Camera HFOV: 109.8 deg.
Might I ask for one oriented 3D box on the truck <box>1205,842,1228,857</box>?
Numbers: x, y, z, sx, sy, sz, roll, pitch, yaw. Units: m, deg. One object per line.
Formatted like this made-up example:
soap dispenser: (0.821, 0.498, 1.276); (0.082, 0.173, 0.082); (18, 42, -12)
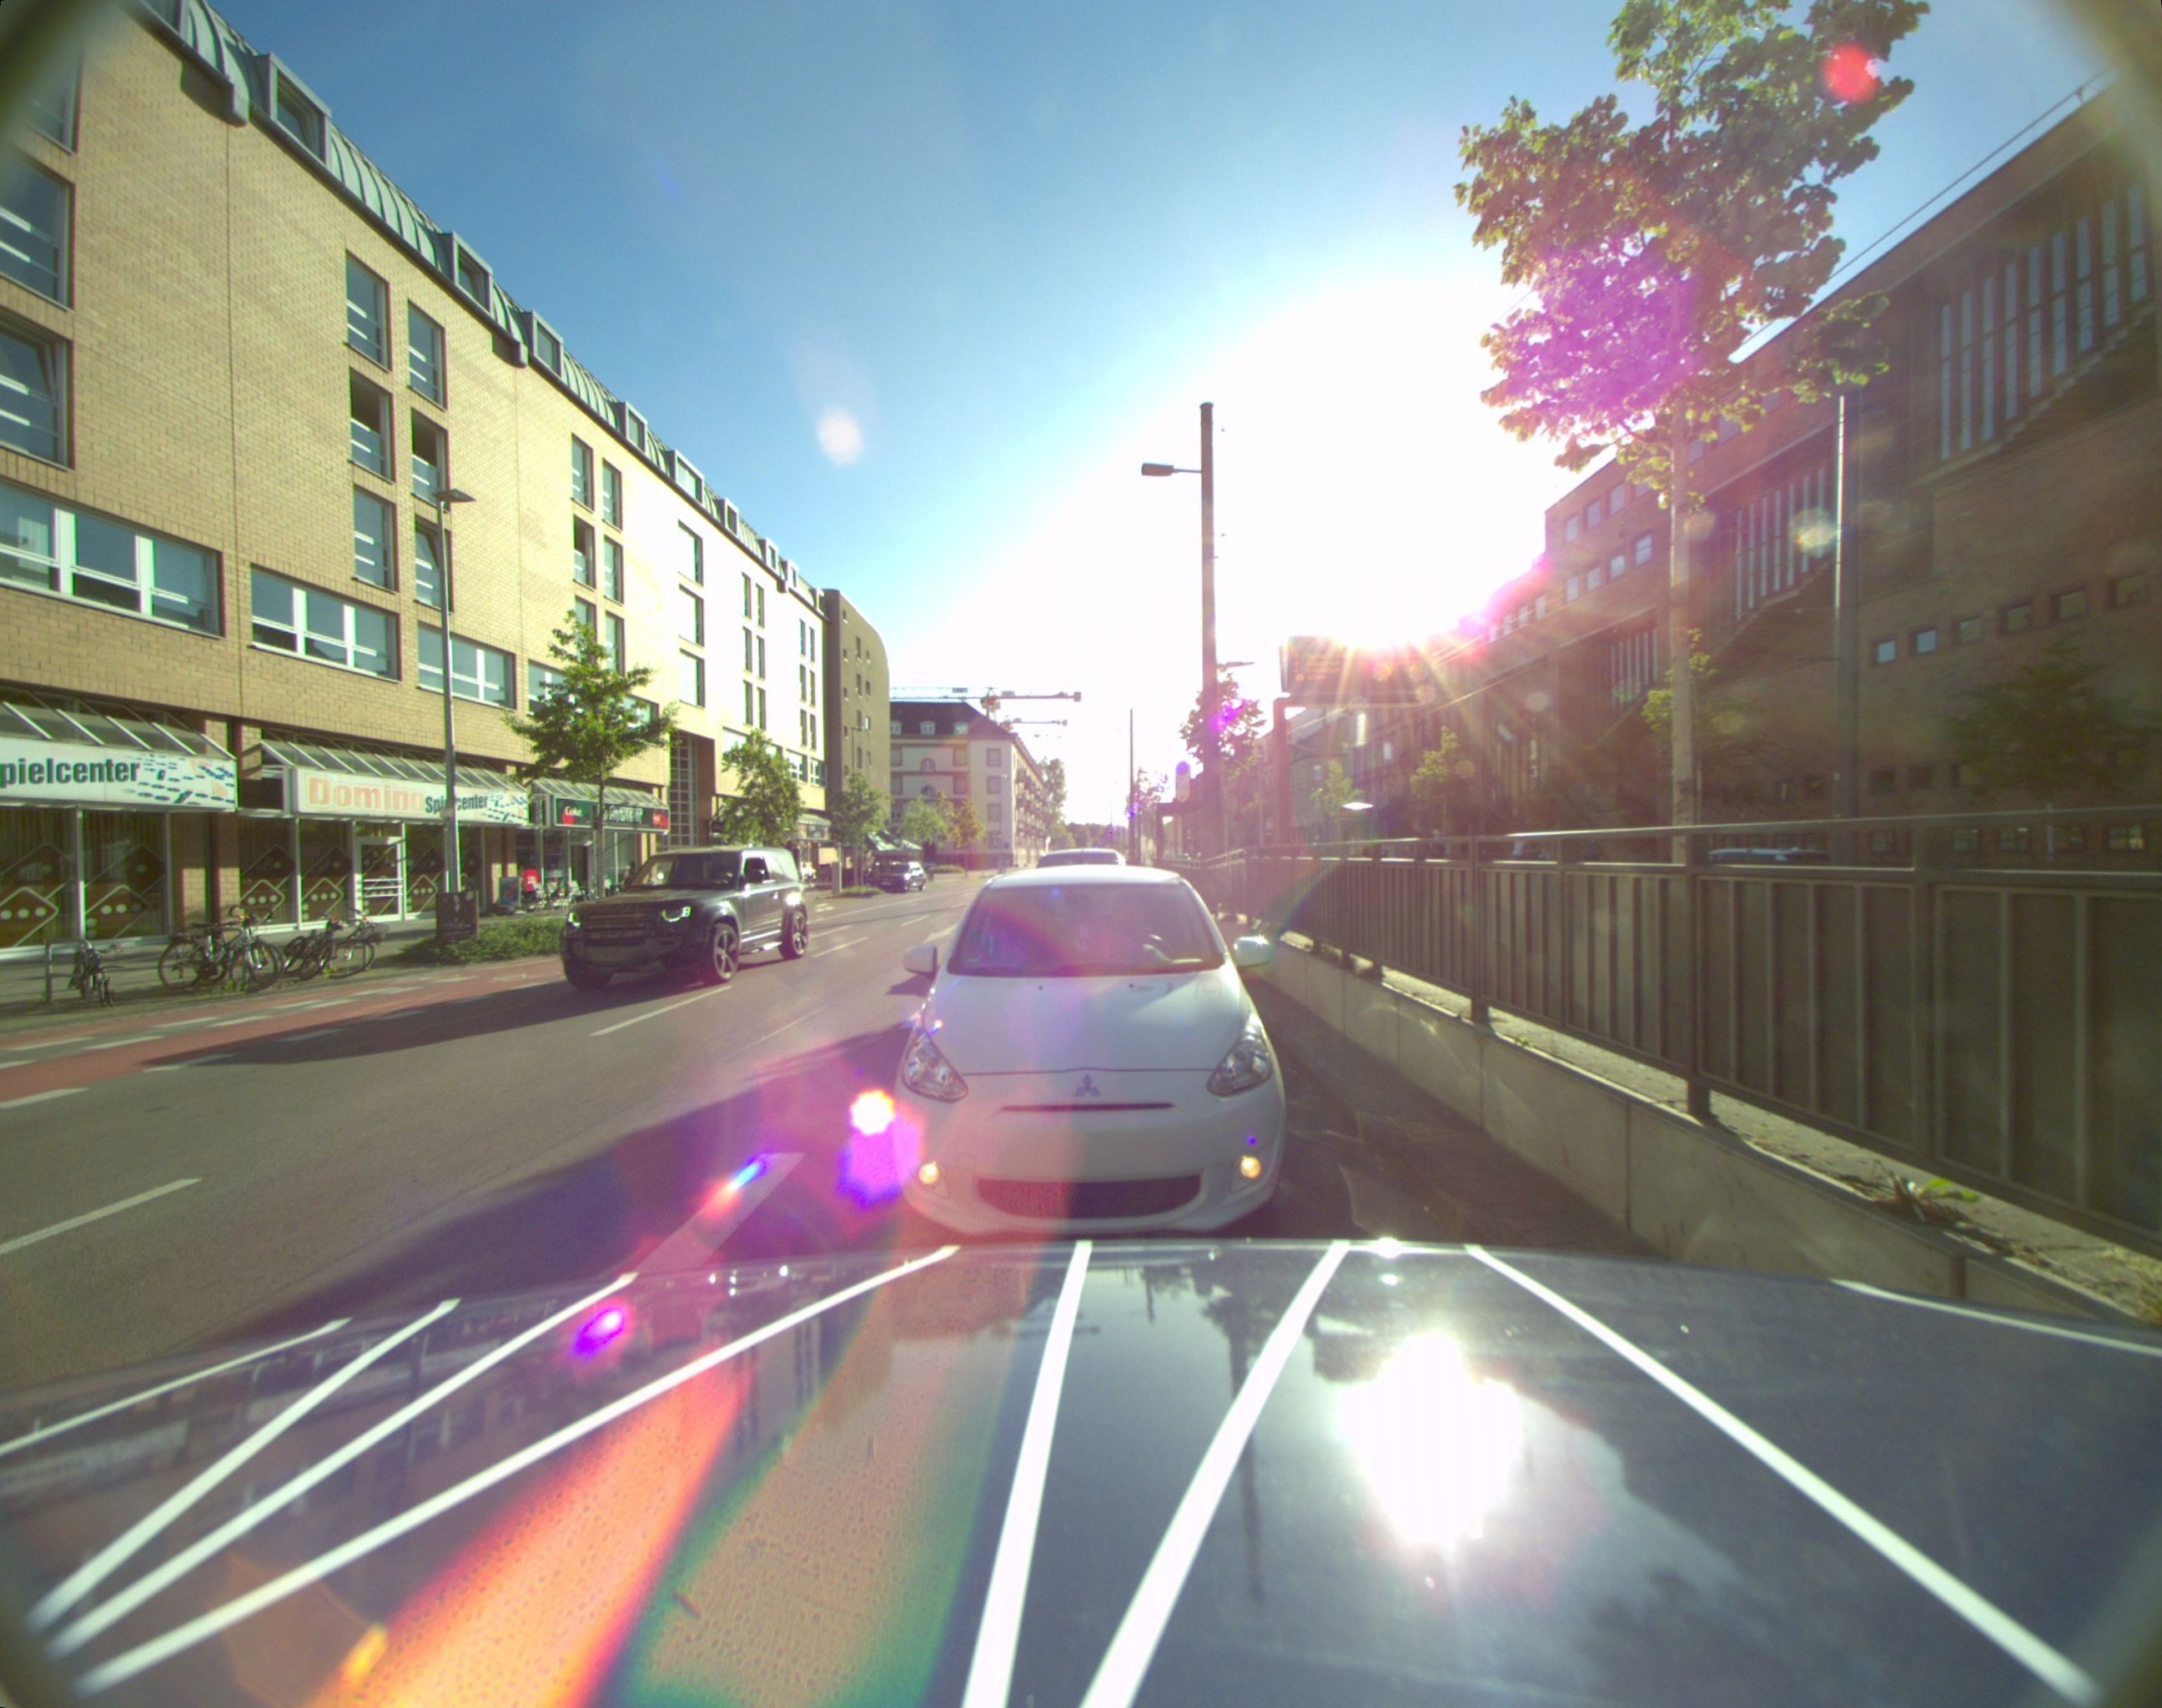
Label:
truck: (17.662, -0.613, 99.292); (1.999, 1.868, 5.155); (1, 0, 0)

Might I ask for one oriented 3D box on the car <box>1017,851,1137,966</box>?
car: (-0.061, 0.808, 13.460); (1.720, 1.591, 4.215); (-2, 1, 0)

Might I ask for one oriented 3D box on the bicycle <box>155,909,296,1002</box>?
bicycle: (-12.336, 1.434, 10.960); (1.835, 1.156, 0.565); (1, 2, 15)

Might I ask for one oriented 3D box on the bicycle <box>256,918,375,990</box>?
bicycle: (-12.045, 1.551, 11.960); (1.835, 0.980, 0.449); (1, 2, 15)

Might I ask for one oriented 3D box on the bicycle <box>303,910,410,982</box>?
bicycle: (-11.902, 1.487, 12.477); (1.835, 1.050, 0.350); (1, 2, 15)

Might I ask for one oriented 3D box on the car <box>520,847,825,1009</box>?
car: (-5.769, 0.936, 11.579); (2.164, 1.903, 4.473); (-2, -1, 0)

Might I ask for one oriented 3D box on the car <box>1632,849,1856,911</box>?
car: (17.320, 0.615, 20.216); (1.830, 1.422, 4.528); (-1, 0, -3)

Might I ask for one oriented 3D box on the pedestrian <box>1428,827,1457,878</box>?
pedestrian: (13.141, -0.052, 27.645); (0.685, 1.797, 0.668); (-2, 2, 0)

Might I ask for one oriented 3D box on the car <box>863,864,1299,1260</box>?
car: (0.002, 0.882, 5.210); (1.720, 1.422, 4.215); (-2, 1, 0)

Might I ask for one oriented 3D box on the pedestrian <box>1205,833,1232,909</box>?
pedestrian: (4.484, 0.552, 24.827); (0.684, 2.428, 0.626); (-2, 2, -2)

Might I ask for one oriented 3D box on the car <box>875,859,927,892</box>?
car: (-9.773, 1.145, 41.598); (1.779, 1.630, 4.000); (-1, 0, 1)

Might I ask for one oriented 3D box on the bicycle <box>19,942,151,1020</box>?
bicycle: (-12.867, 1.620, 9.814); (1.772, 0.827, 0.366); (1, 2, 15)

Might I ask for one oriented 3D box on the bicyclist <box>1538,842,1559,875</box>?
bicyclist: (22.593, 0.217, 36.698); (0.588, 1.525, 0.650); (-2, 2, 1)
